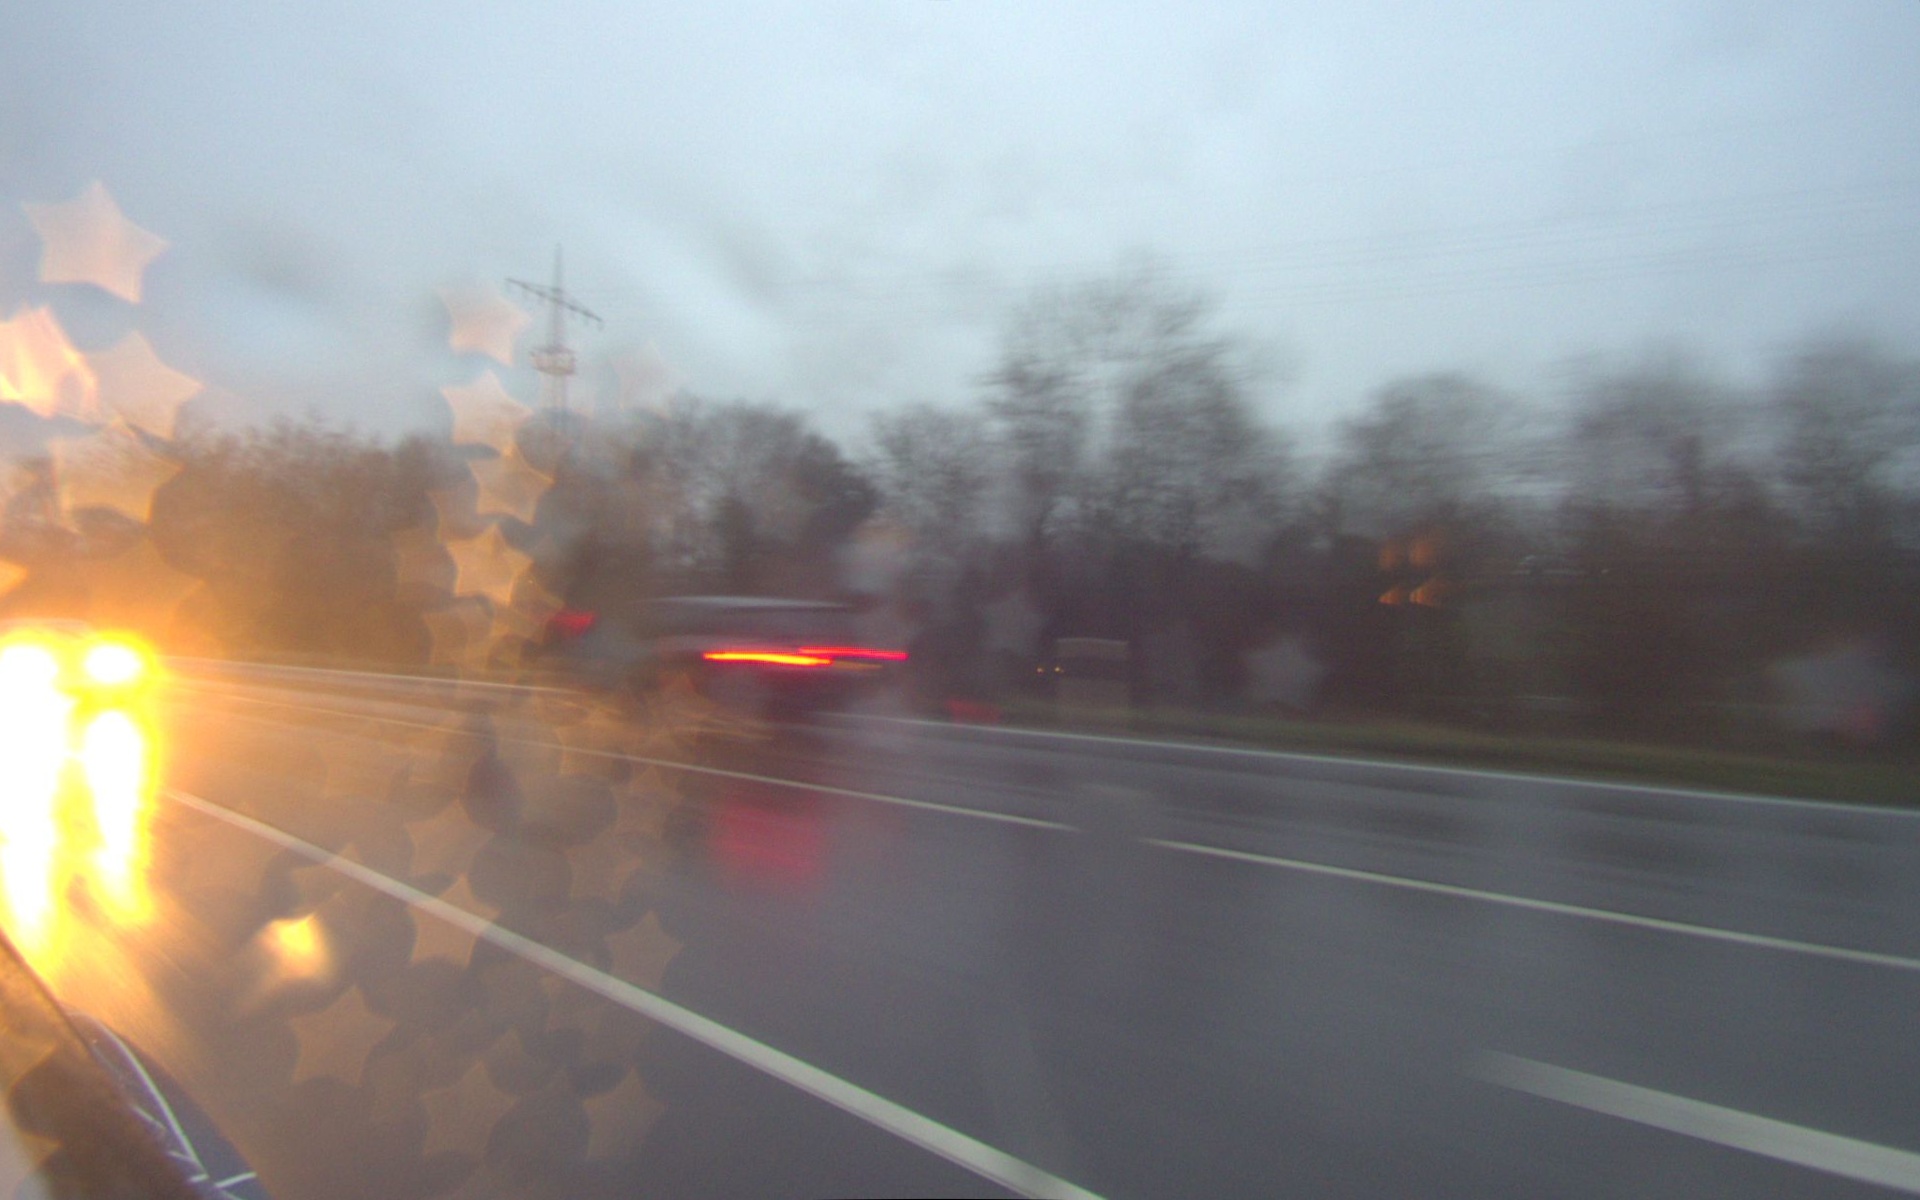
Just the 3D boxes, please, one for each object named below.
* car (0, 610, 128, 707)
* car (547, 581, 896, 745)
[{"bbox_3d":[-15.987,0.926,17.571,4.168,1.431,1.616,-1,1,40],"label":"car"},{"bbox_3d":[-2.894,0.624,11.719,4.377,1.568,1.629,-1,0,40],"label":"car"}]
